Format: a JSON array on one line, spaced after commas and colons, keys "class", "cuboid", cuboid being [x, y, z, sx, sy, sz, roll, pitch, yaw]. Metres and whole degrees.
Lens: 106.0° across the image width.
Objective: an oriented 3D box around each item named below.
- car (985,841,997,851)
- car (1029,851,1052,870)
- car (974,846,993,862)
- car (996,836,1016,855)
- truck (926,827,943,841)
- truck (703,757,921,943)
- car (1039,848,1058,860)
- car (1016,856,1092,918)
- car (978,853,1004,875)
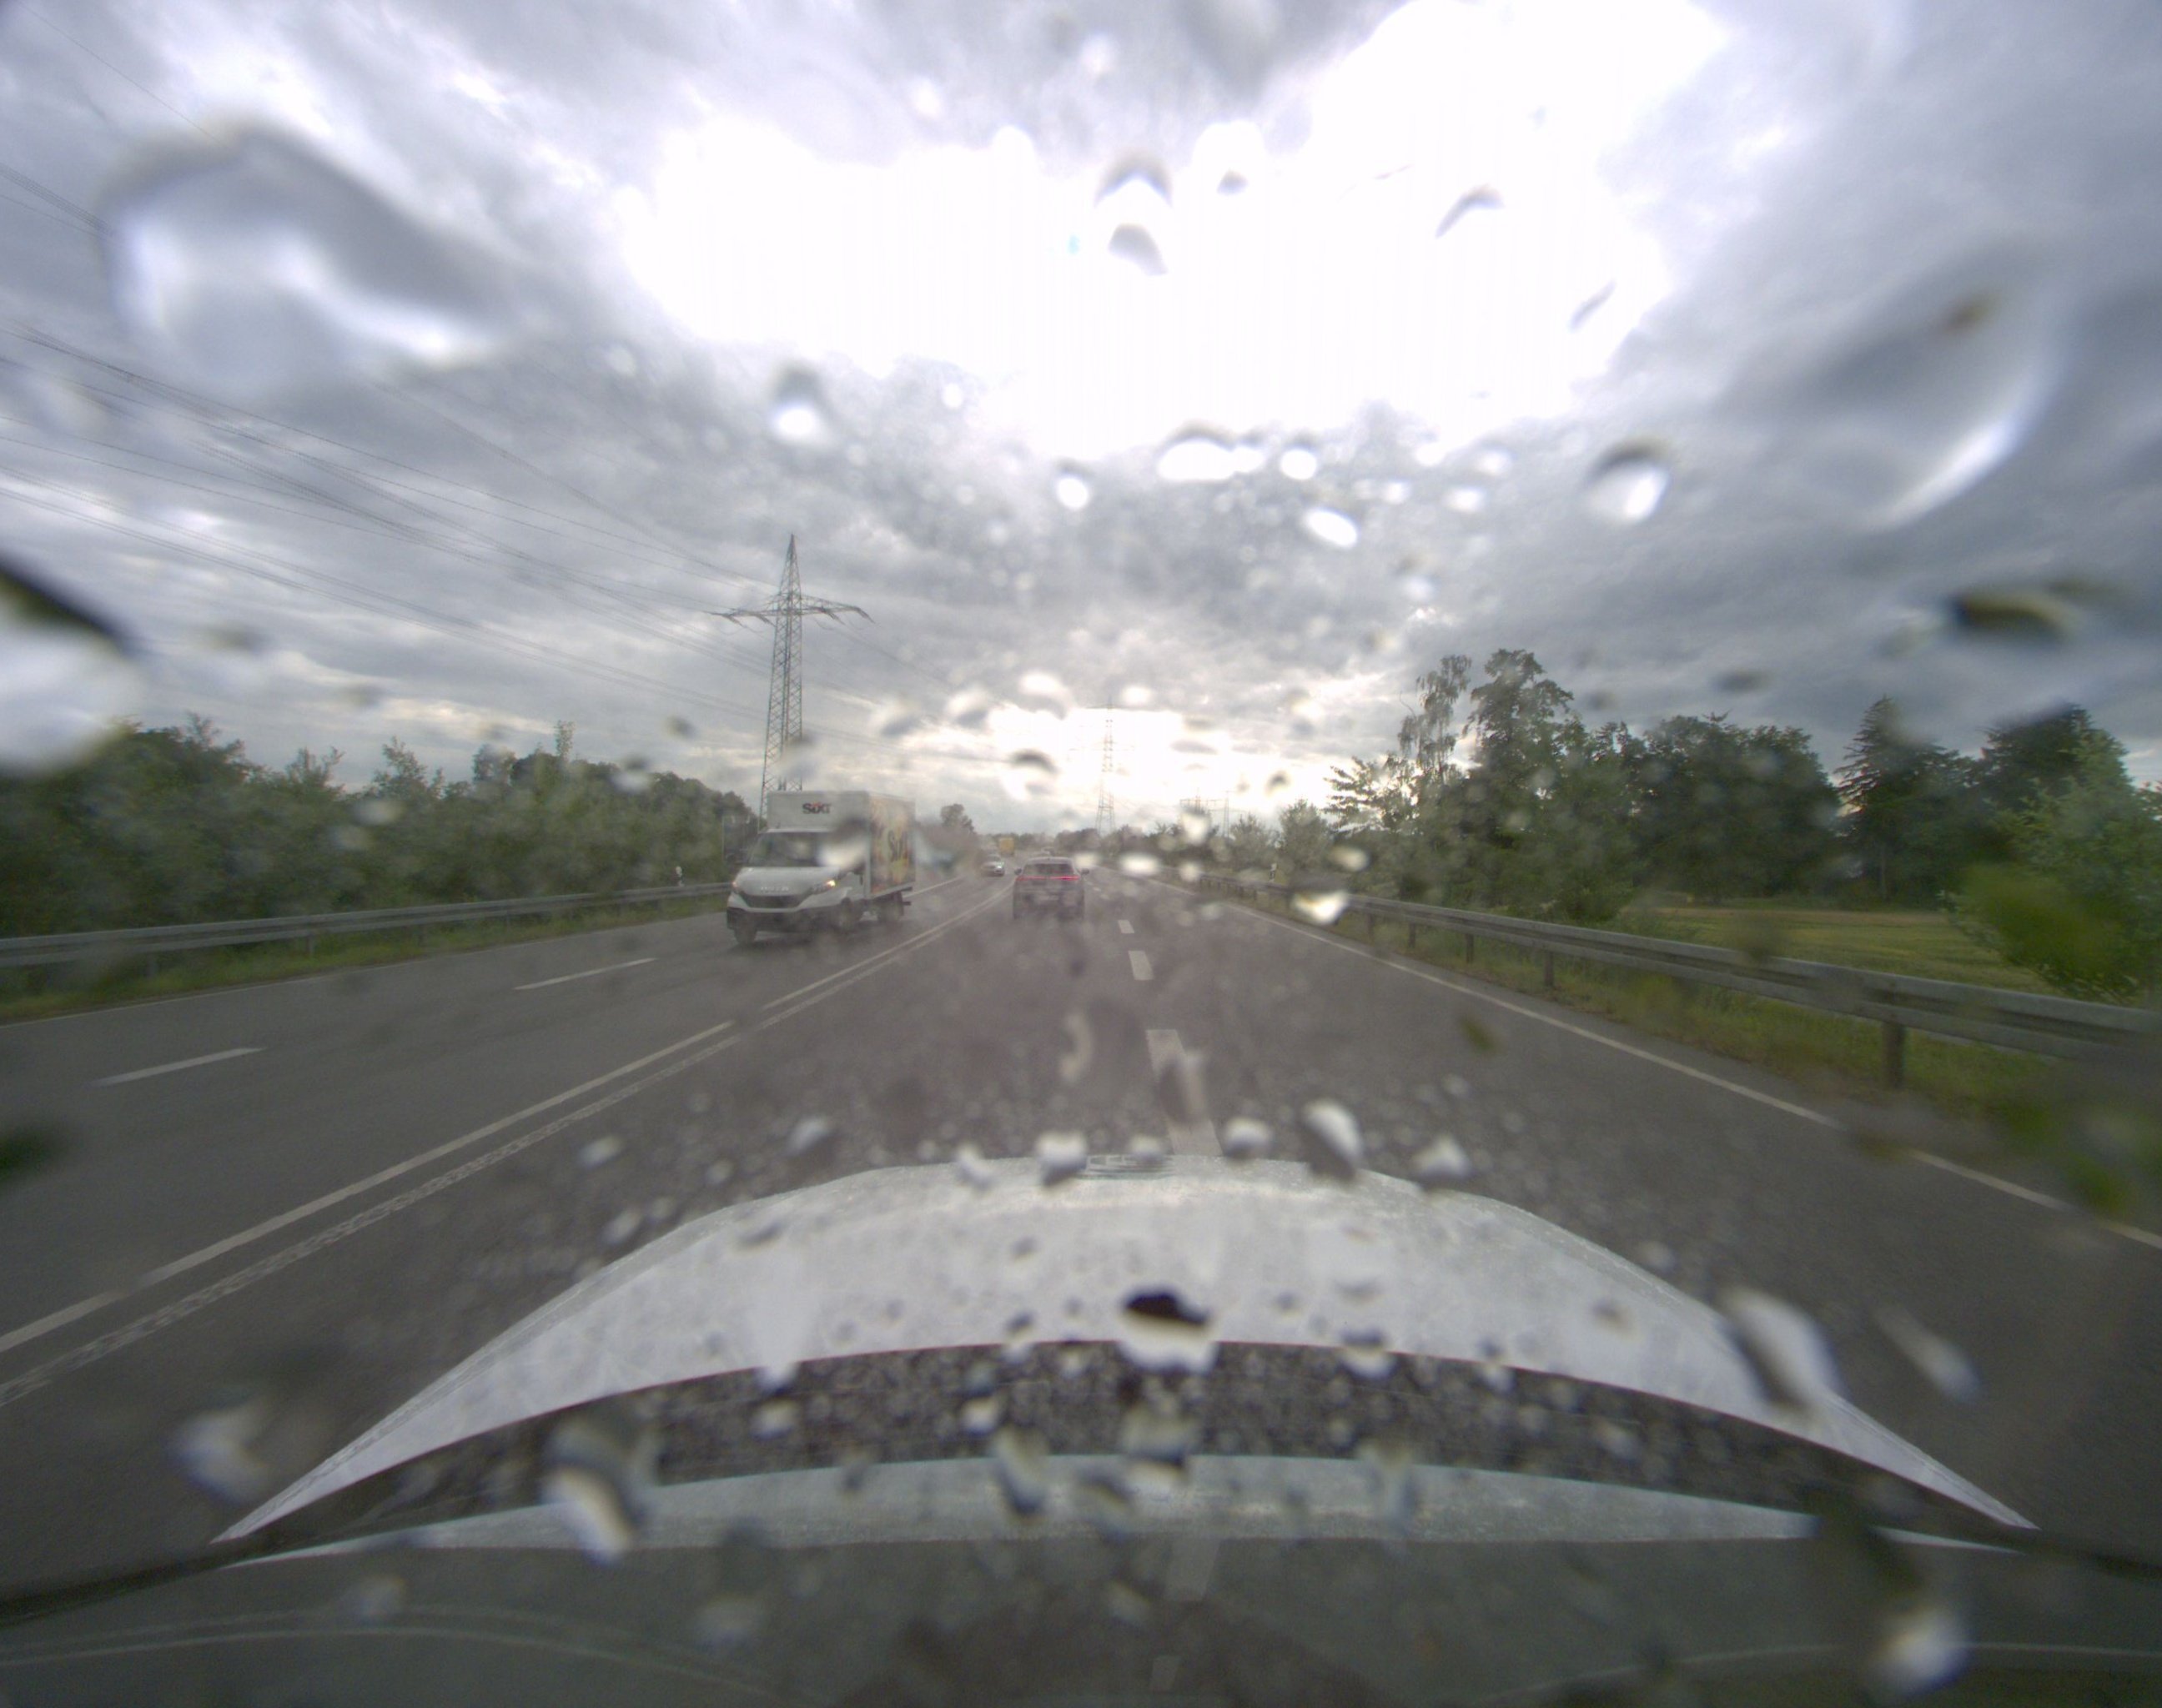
[{"class": "car", "cuboid": [-15.389, -1.349, 139.839, 1.791, 1.687, 3.987, 1, 0, -10]}, {"class": "car", "cuboid": [-3.351, 0.549, 67.690, 1.787, 1.441, 3.995, -1, -1, -3]}, {"class": "car", "cuboid": [-9.893, -0.010, 82.646, 1.797, 1.575, 4.251, -1, 0, -5]}, {"class": "car", "cuboid": [-10.820, -1.205, 116.995, 2.571, 2.725, 7.176, 1, 0, -8]}, {"class": "truck", "cuboid": [-37.217, -5.144, 206.715, 3.054, 3.384, 7.597, 0, 0, -18]}, {"class": "truck", "cuboid": [-5.305, -0.049, 17.414, 2.248, 3.156, 6.691, -1, 0, 1]}, {"class": "car", "cuboid": [-4.121, 0.010, 102.876, 1.792, 1.541, 3.985, -1, 0, -10]}, {"class": "car", "cuboid": [-0.678, 0.834, 21.312, 1.786, 1.441, 3.997, 1, -1, -2]}, {"class": "car", "cuboid": [-6.123, 0.669, 55.460, 1.677, 1.457, 4.066, 0, 0, -6]}]
